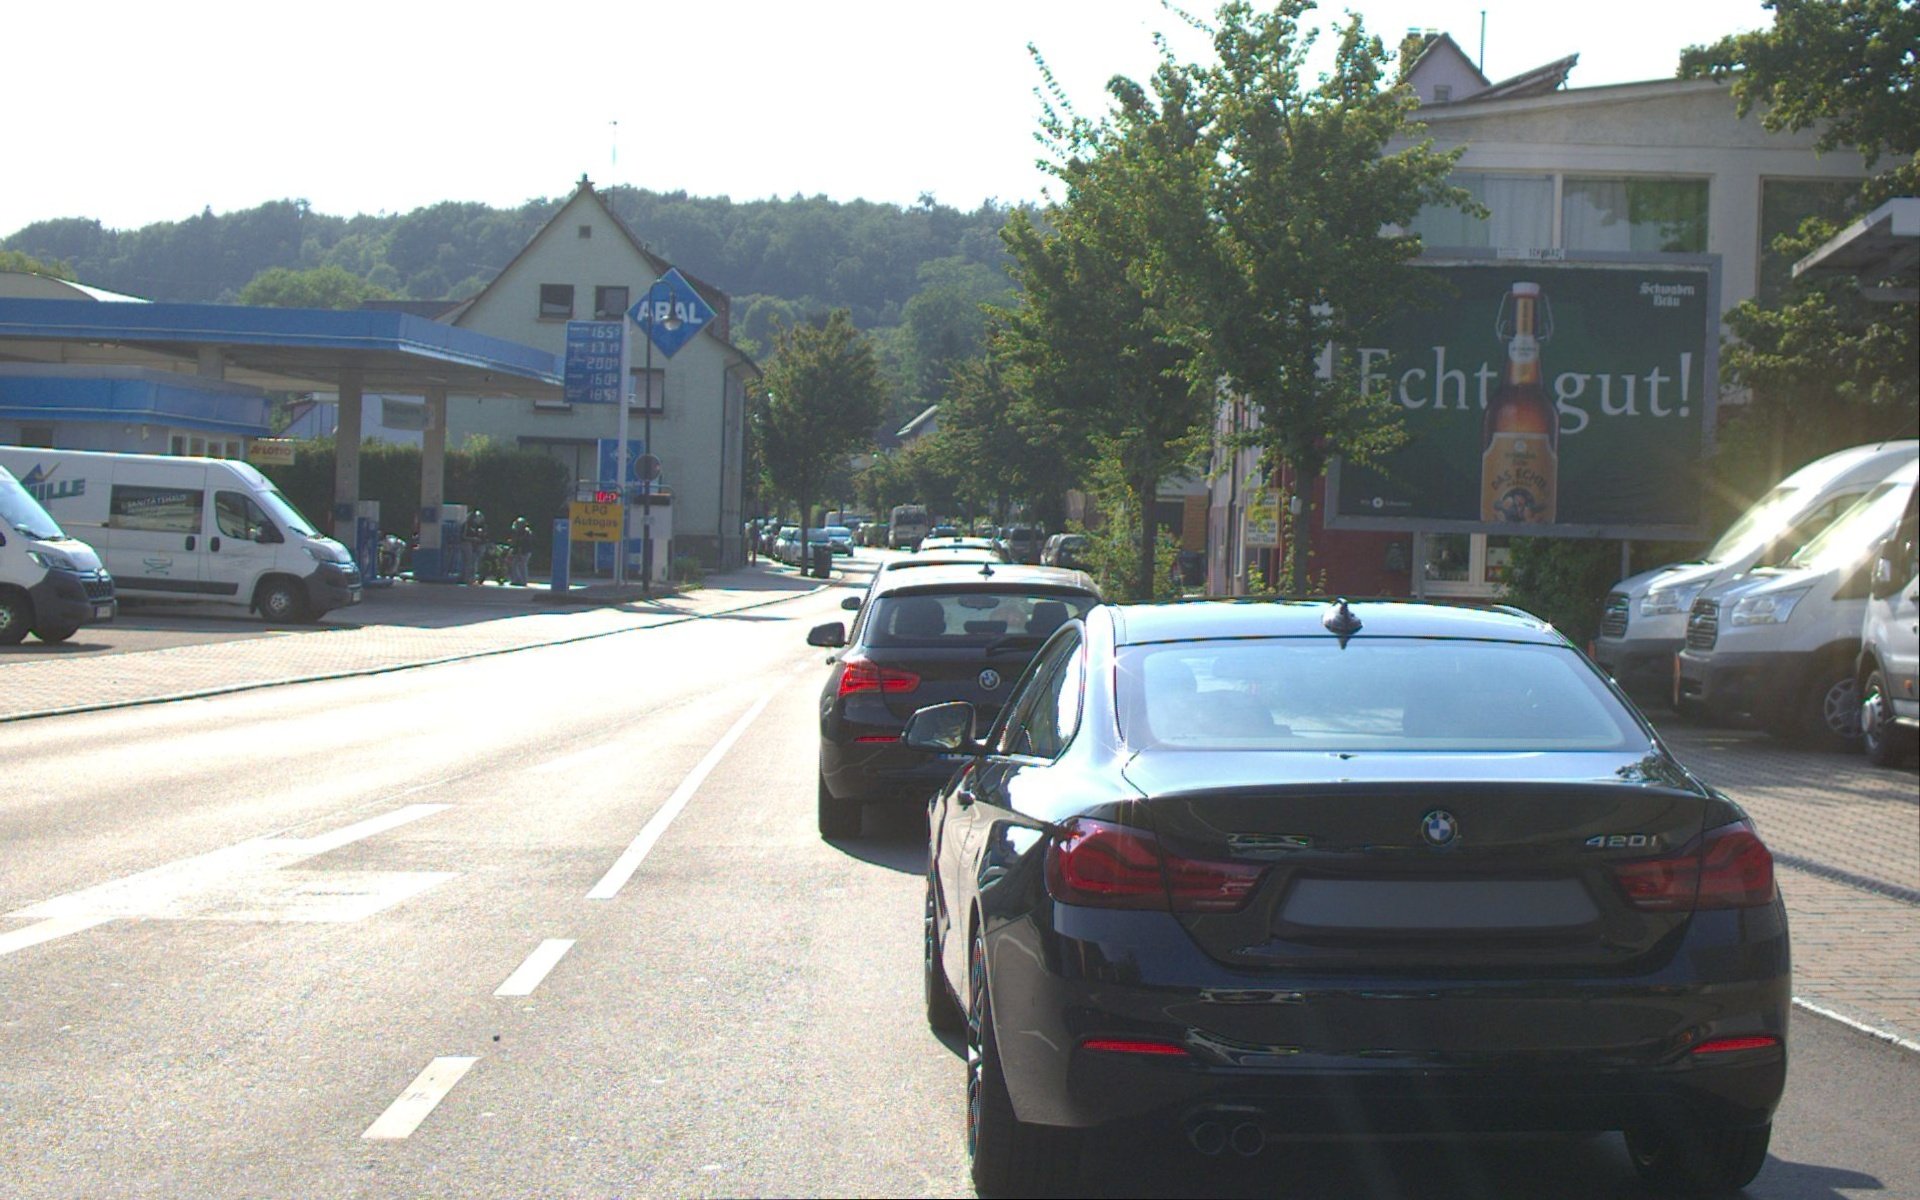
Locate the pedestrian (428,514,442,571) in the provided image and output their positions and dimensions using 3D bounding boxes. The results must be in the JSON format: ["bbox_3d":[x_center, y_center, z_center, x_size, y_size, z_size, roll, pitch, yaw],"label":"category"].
[{"bbox_3d":[-12.605,-1.378,82.489,0.287,1.362,0.263,1,1,-3],"label":"pedestrian"}]

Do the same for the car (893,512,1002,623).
[{"bbox_3d":[-0.175,-0.575,57.308,1.603,1.761,3.411,1,2,3],"label":"car"}]

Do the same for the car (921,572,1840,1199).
[{"bbox_3d":[0.830,0.657,9.075,1.699,1.364,4.263,0,2,-3],"label":"car"}]

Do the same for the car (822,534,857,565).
[{"bbox_3d":[-6.044,-2.547,172.227,1.597,1.480,3.475,2,1,0],"label":"car"}]

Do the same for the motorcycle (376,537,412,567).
[{"bbox_3d":[-13.831,-1.171,84.022,0.459,0.727,1.473,1,1,8],"label":"motorcycle"}]

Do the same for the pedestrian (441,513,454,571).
[{"bbox_3d":[-12.392,-1.407,83.187,0.262,1.378,0.288,1,1,-2],"label":"pedestrian"}]

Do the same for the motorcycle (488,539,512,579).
[{"bbox_3d":[-11.166,-1.010,83.536,0.363,0.940,1.696,1,2,-1],"label":"motorcycle"}]

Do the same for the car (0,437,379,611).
[{"bbox_3d":[-12.250,-1.190,52.931,6.159,2.436,2.249,2,1,1],"label":"car"}]

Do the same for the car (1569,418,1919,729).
[{"bbox_3d":[8.403,-0.213,29.143,6.043,2.507,2.044,1,1,-1],"label":"car"}]

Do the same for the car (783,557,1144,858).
[{"bbox_3d":[0.070,0.511,18.862,1.772,1.451,3.515,1,1,2],"label":"car"}]

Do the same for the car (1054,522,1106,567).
[{"bbox_3d":[4.122,-1.919,118.361,1.597,1.480,3.475,2,1,0],"label":"car"}]

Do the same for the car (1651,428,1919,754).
[{"bbox_3d":[8.516,-0.057,26.157,6.043,2.355,2.044,1,1,-1],"label":"car"}]

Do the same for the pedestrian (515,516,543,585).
[{"bbox_3d":[-10.516,-1.208,83.864,0.610,1.664,0.442,1,1,-2],"label":"pedestrian"}]

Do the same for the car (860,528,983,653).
[{"bbox_3d":[-0.516,-0.166,47.152,1.591,1.594,3.894,1,2,0],"label":"car"}]

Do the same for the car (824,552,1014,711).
[{"bbox_3d":[-0.390,0.269,33.785,1.754,1.409,3.422,1,2,0],"label":"car"}]

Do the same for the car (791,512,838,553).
[{"bbox_3d":[-5.530,-2.569,130.768,1.597,1.480,3.475,2,1,0],"label":"car"}]

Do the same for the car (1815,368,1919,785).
[{"bbox_3d":[7.238,-0.113,21.193,2.149,2.671,6.604,1,2,-1],"label":"car"}]

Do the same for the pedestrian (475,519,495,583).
[{"bbox_3d":[-11.603,-1.193,83.986,0.407,1.541,0.433,1,1,-2],"label":"pedestrian"}]

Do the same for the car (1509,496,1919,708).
[{"bbox_3d":[7.127,-0.002,32.307,3.599,1.887,1.587,1,1,-2],"label":"car"}]

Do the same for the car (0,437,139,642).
[{"bbox_3d":[-13.605,-0.861,43.252,5.921,2.471,2.193,2,2,5],"label":"car"}]
